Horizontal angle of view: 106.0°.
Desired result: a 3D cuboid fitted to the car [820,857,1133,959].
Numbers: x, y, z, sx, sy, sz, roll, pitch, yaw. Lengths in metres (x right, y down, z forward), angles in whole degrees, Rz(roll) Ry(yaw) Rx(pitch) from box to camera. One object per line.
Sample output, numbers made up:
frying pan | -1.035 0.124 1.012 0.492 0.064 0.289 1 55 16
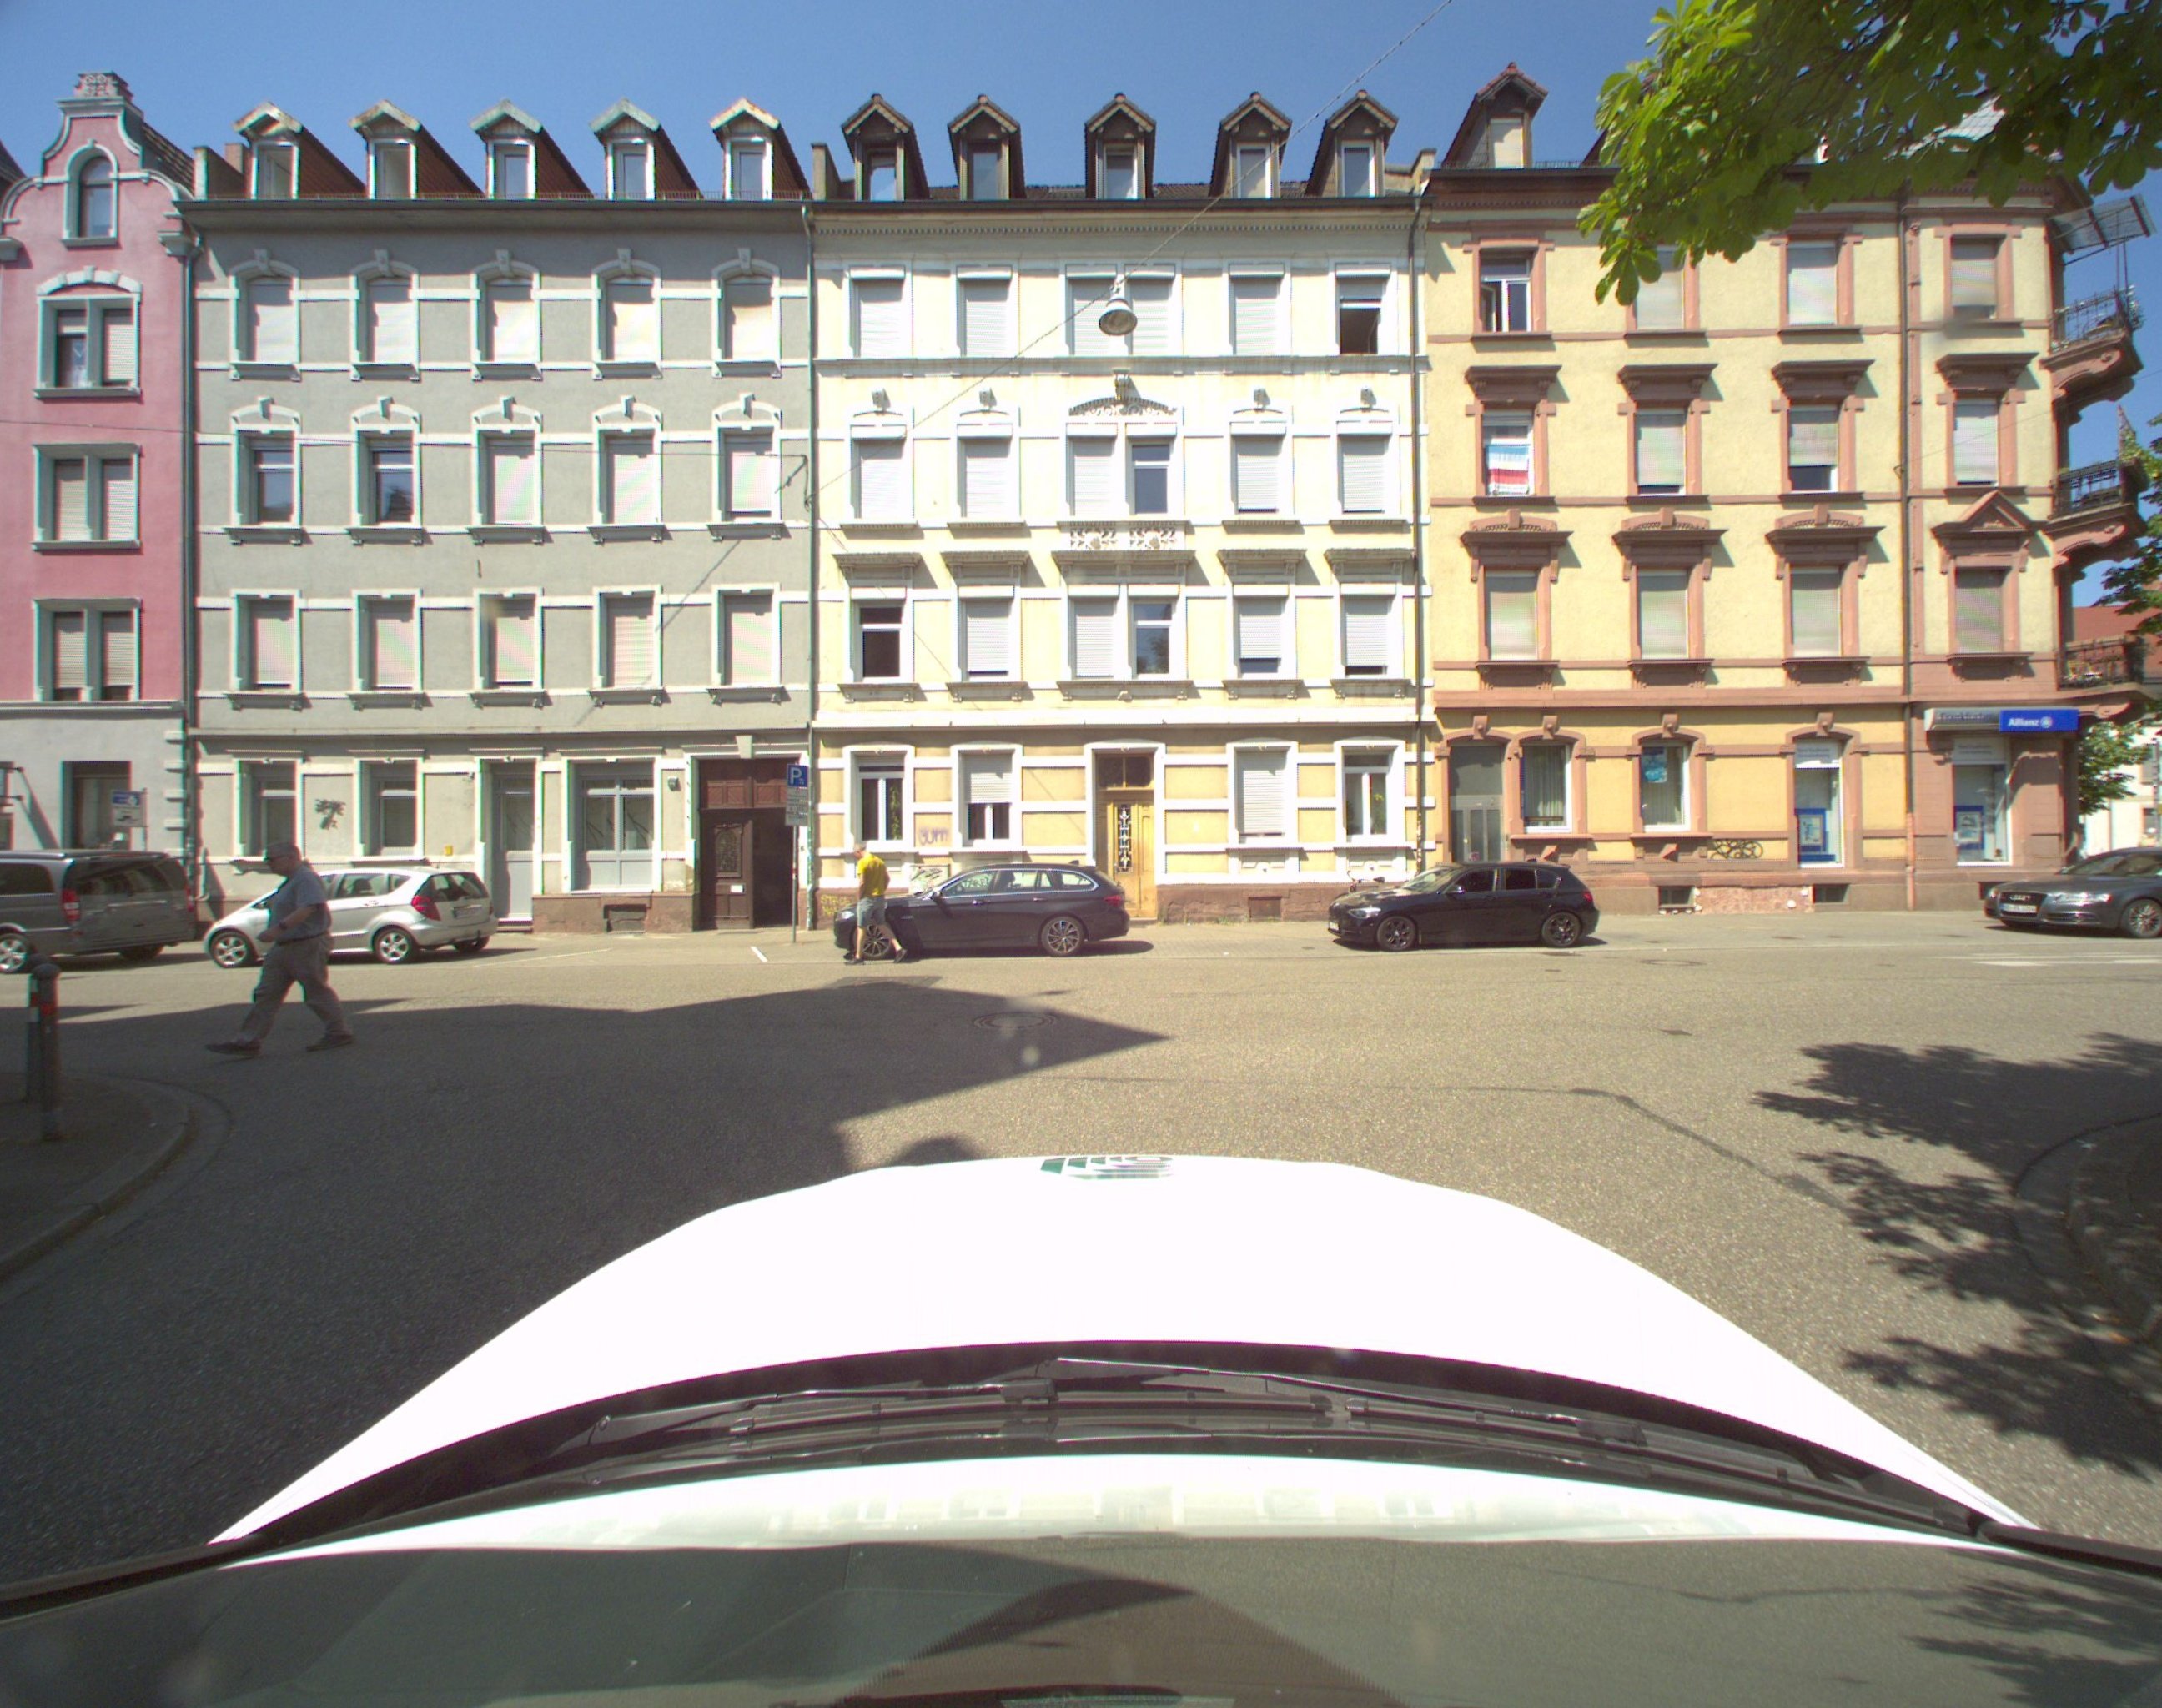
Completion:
car | -1.609 0.843 13.673 4.843 1.437 2.000 -2 -1 0

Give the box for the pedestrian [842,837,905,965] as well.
pedestrian | -3.131 0.695 12.352 0.722 1.853 0.685 -2 -1 0

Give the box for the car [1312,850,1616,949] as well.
car | 6.301 0.713 13.742 4.279 1.370 1.807 -2 2 0

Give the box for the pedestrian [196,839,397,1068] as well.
pedestrian | -6.789 0.799 7.078 0.893 1.814 0.966 -2 -1 24

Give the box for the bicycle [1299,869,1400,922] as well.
bicycle | 5.693 0.867 17.312 1.999 1.021 0.424 -2 2 -2

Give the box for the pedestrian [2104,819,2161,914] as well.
pedestrian | 23.210 0.262 17.692 1.237 2.014 1.040 -1 -1 -44

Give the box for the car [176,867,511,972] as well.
car | -12.487 1.067 14.002 4.034 1.562 1.806 -2 -1 -1

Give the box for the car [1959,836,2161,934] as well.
car | 18.051 0.463 13.787 4.407 1.455 1.807 -2 0 0

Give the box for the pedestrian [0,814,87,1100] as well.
pedestrian | -7.579 0.690 5.387 0.845 1.889 0.937 -2 -1 6

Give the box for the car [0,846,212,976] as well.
car | -18.069 0.936 13.725 4.690 1.997 1.877 -2 1 0
